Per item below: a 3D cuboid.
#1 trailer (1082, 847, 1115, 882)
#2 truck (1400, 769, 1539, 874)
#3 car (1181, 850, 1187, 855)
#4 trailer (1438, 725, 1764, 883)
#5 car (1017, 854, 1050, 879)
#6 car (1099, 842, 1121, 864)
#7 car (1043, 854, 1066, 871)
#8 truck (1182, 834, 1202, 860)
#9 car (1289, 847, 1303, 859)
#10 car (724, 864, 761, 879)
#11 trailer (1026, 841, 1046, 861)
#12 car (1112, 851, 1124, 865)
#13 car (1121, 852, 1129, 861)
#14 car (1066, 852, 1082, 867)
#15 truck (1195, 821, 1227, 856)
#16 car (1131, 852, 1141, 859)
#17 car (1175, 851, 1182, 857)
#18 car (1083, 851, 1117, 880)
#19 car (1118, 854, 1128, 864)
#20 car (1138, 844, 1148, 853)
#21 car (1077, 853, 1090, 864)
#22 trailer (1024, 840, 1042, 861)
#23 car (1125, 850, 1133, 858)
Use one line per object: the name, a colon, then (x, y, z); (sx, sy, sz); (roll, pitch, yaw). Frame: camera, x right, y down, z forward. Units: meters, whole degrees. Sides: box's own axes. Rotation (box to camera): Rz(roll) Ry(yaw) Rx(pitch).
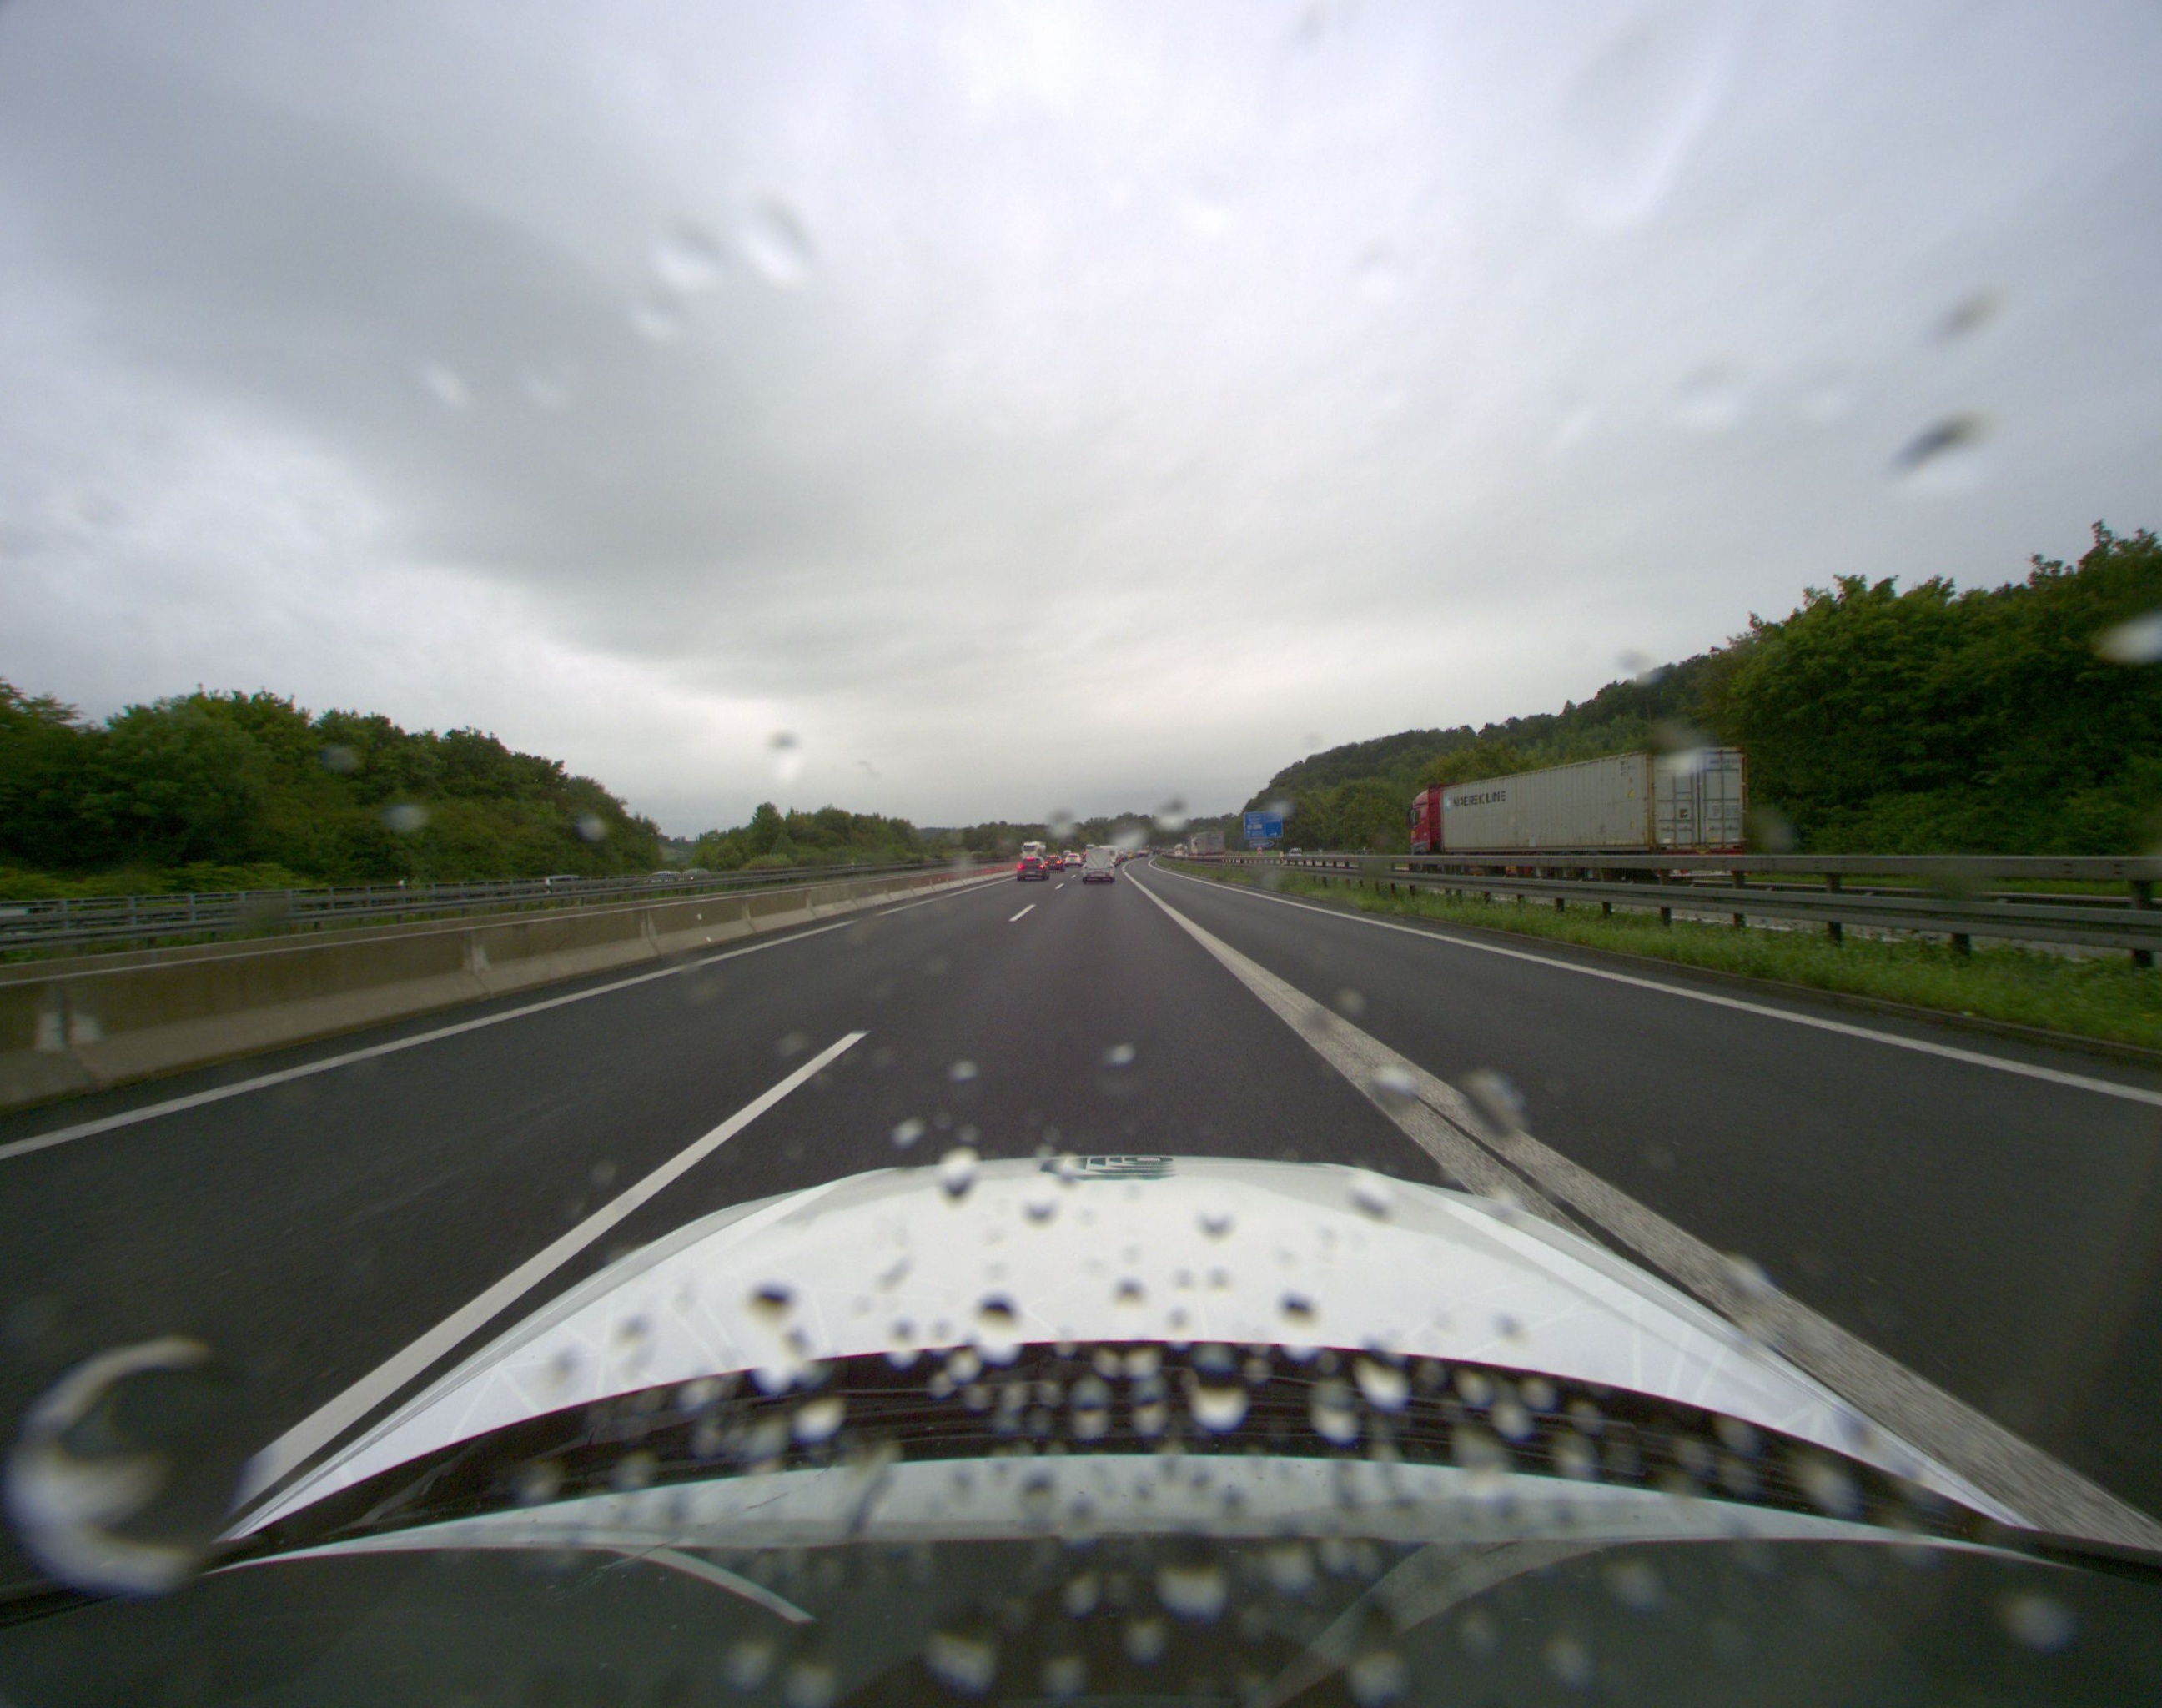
trailer: (0.968, 0.549, 44.127); (1.669, 1.812, 4.002); (-1, 0, 2)
truck: (15.687, -1.185, 33.477); (2.608, 3.884, 6.390); (-1, 0, 0)
car: (31.104, -0.399, 245.609); (1.666, 1.456, 4.010); (-1, 0, 9)
trailer: (15.666, -1.209, 26.497); (2.596, 3.894, 12.488); (-1, 0, 0)
car: (-2.862, 0.746, 49.990); (1.669, 1.456, 4.001); (-1, 0, 1)
car: (3.608, -0.070, 99.557); (2.496, 2.585, 5.705); (-1, 0, 4)
car: (-2.315, 0.745, 72.721); (1.759, 1.456, 4.001); (-1, 0, 1)
truck: (21.332, -1.299, 157.161); (3.199, 4.666, 13.053); (-1, 0, 6)
car: (27.055, -0.123, 102.469); (1.663, 1.456, 4.016); (-1, 0, 15)
car: (-35.862, 1.812, 86.415); (1.812, 1.456, 4.777); (-1, 0, 0)
trailer: (-8.519, -0.515, 156.087); (2.626, 3.736, 10.818); (-1, 0, 3)
car: (5.508, 0.637, 121.598); (1.669, 2.067, 4.002); (-1, 0, 2)
car: (8.938, 0.453, 165.114); (1.668, 1.812, 4.004); (-1, 0, 4)
car: (-0.855, 0.655, 97.901); (1.769, 1.640, 4.044); (-1, 0, 1)
truck: (18.743, -2.153, 118.448); (3.202, 4.666, 13.042); (-1, 0, 3)
car: (14.177, 0.444, 208.491); (2.025, 1.683, 4.011); (-1, 0, 10)
car: (24.288, -0.012, 203.425); (1.667, 1.456, 4.007); (-1, 0, 6)
car: (1.167, 0.650, 47.903); (1.811, 1.616, 4.781); (-1, 0, 3)
car: (7.743, 0.919, 149.445); (1.668, 1.812, 4.004); (-1, 0, 4)
car: (18.071, -1.581, 237.180); (2.503, 2.574, 5.321); (-1, 0, 6)
car: (0.407, 0.626, 121.251); (1.769, 1.640, 4.044); (-1, 0, 1)
trailer: (-8.774, -0.550, 150.037); (2.626, 3.715, 6.496); (-1, 0, 3)
car: (11.463, 0.071, 192.522); (1.667, 1.812, 4.007); (-1, 0, 6)
